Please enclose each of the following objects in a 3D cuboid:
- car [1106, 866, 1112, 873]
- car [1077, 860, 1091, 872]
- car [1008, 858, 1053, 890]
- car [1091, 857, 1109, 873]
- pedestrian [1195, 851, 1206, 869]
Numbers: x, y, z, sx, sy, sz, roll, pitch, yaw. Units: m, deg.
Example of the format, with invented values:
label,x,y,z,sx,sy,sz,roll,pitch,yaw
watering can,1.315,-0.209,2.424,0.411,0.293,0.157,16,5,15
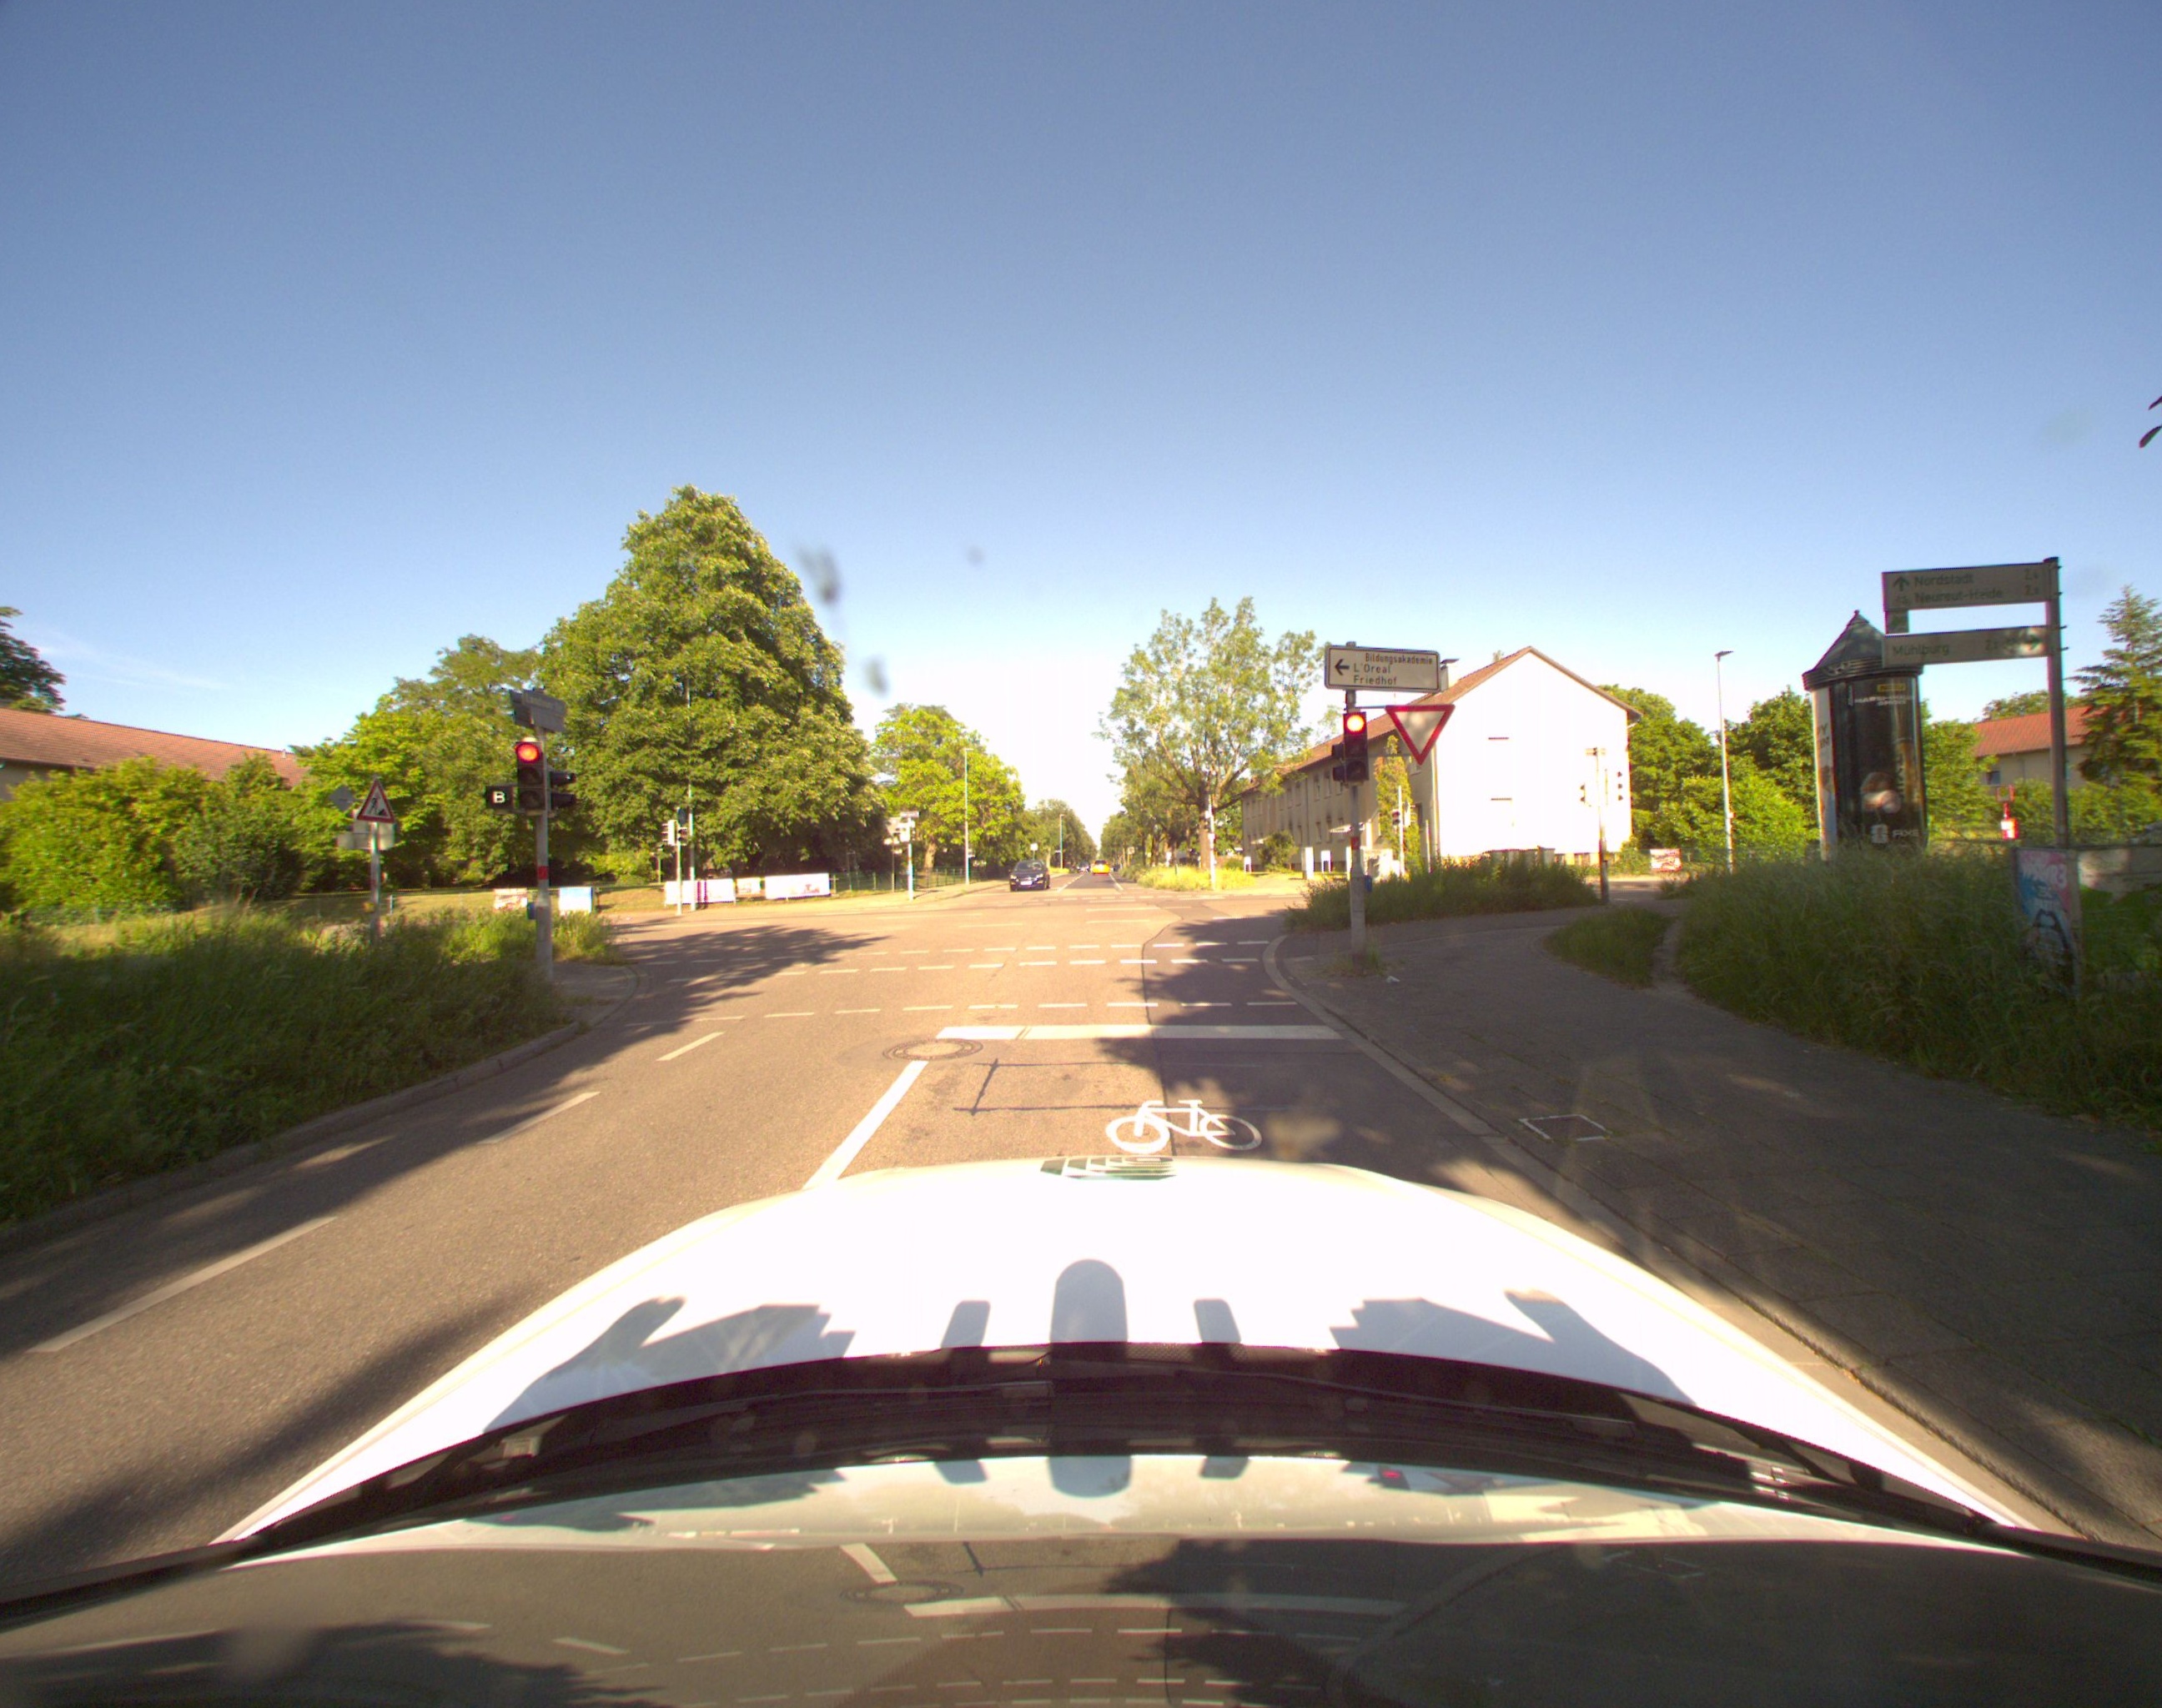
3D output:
label,x,y,z,sx,sy,sz,roll,pitch,yaw
car,7.553,4.155,219.285,1.766,1.754,4.002,-1,-1,2
car,0.469,1.692,119.067,1.751,1.624,3.271,-2,0,3
car,-2.370,0.917,38.821,1.704,1.385,3.473,-2,0,3
car,1.993,1.140,83.021,1.745,1.582,4.002,-1,-1,2
pedestrian,10.438,0.518,70.871,0.839,1.493,0.924,1,0,1
